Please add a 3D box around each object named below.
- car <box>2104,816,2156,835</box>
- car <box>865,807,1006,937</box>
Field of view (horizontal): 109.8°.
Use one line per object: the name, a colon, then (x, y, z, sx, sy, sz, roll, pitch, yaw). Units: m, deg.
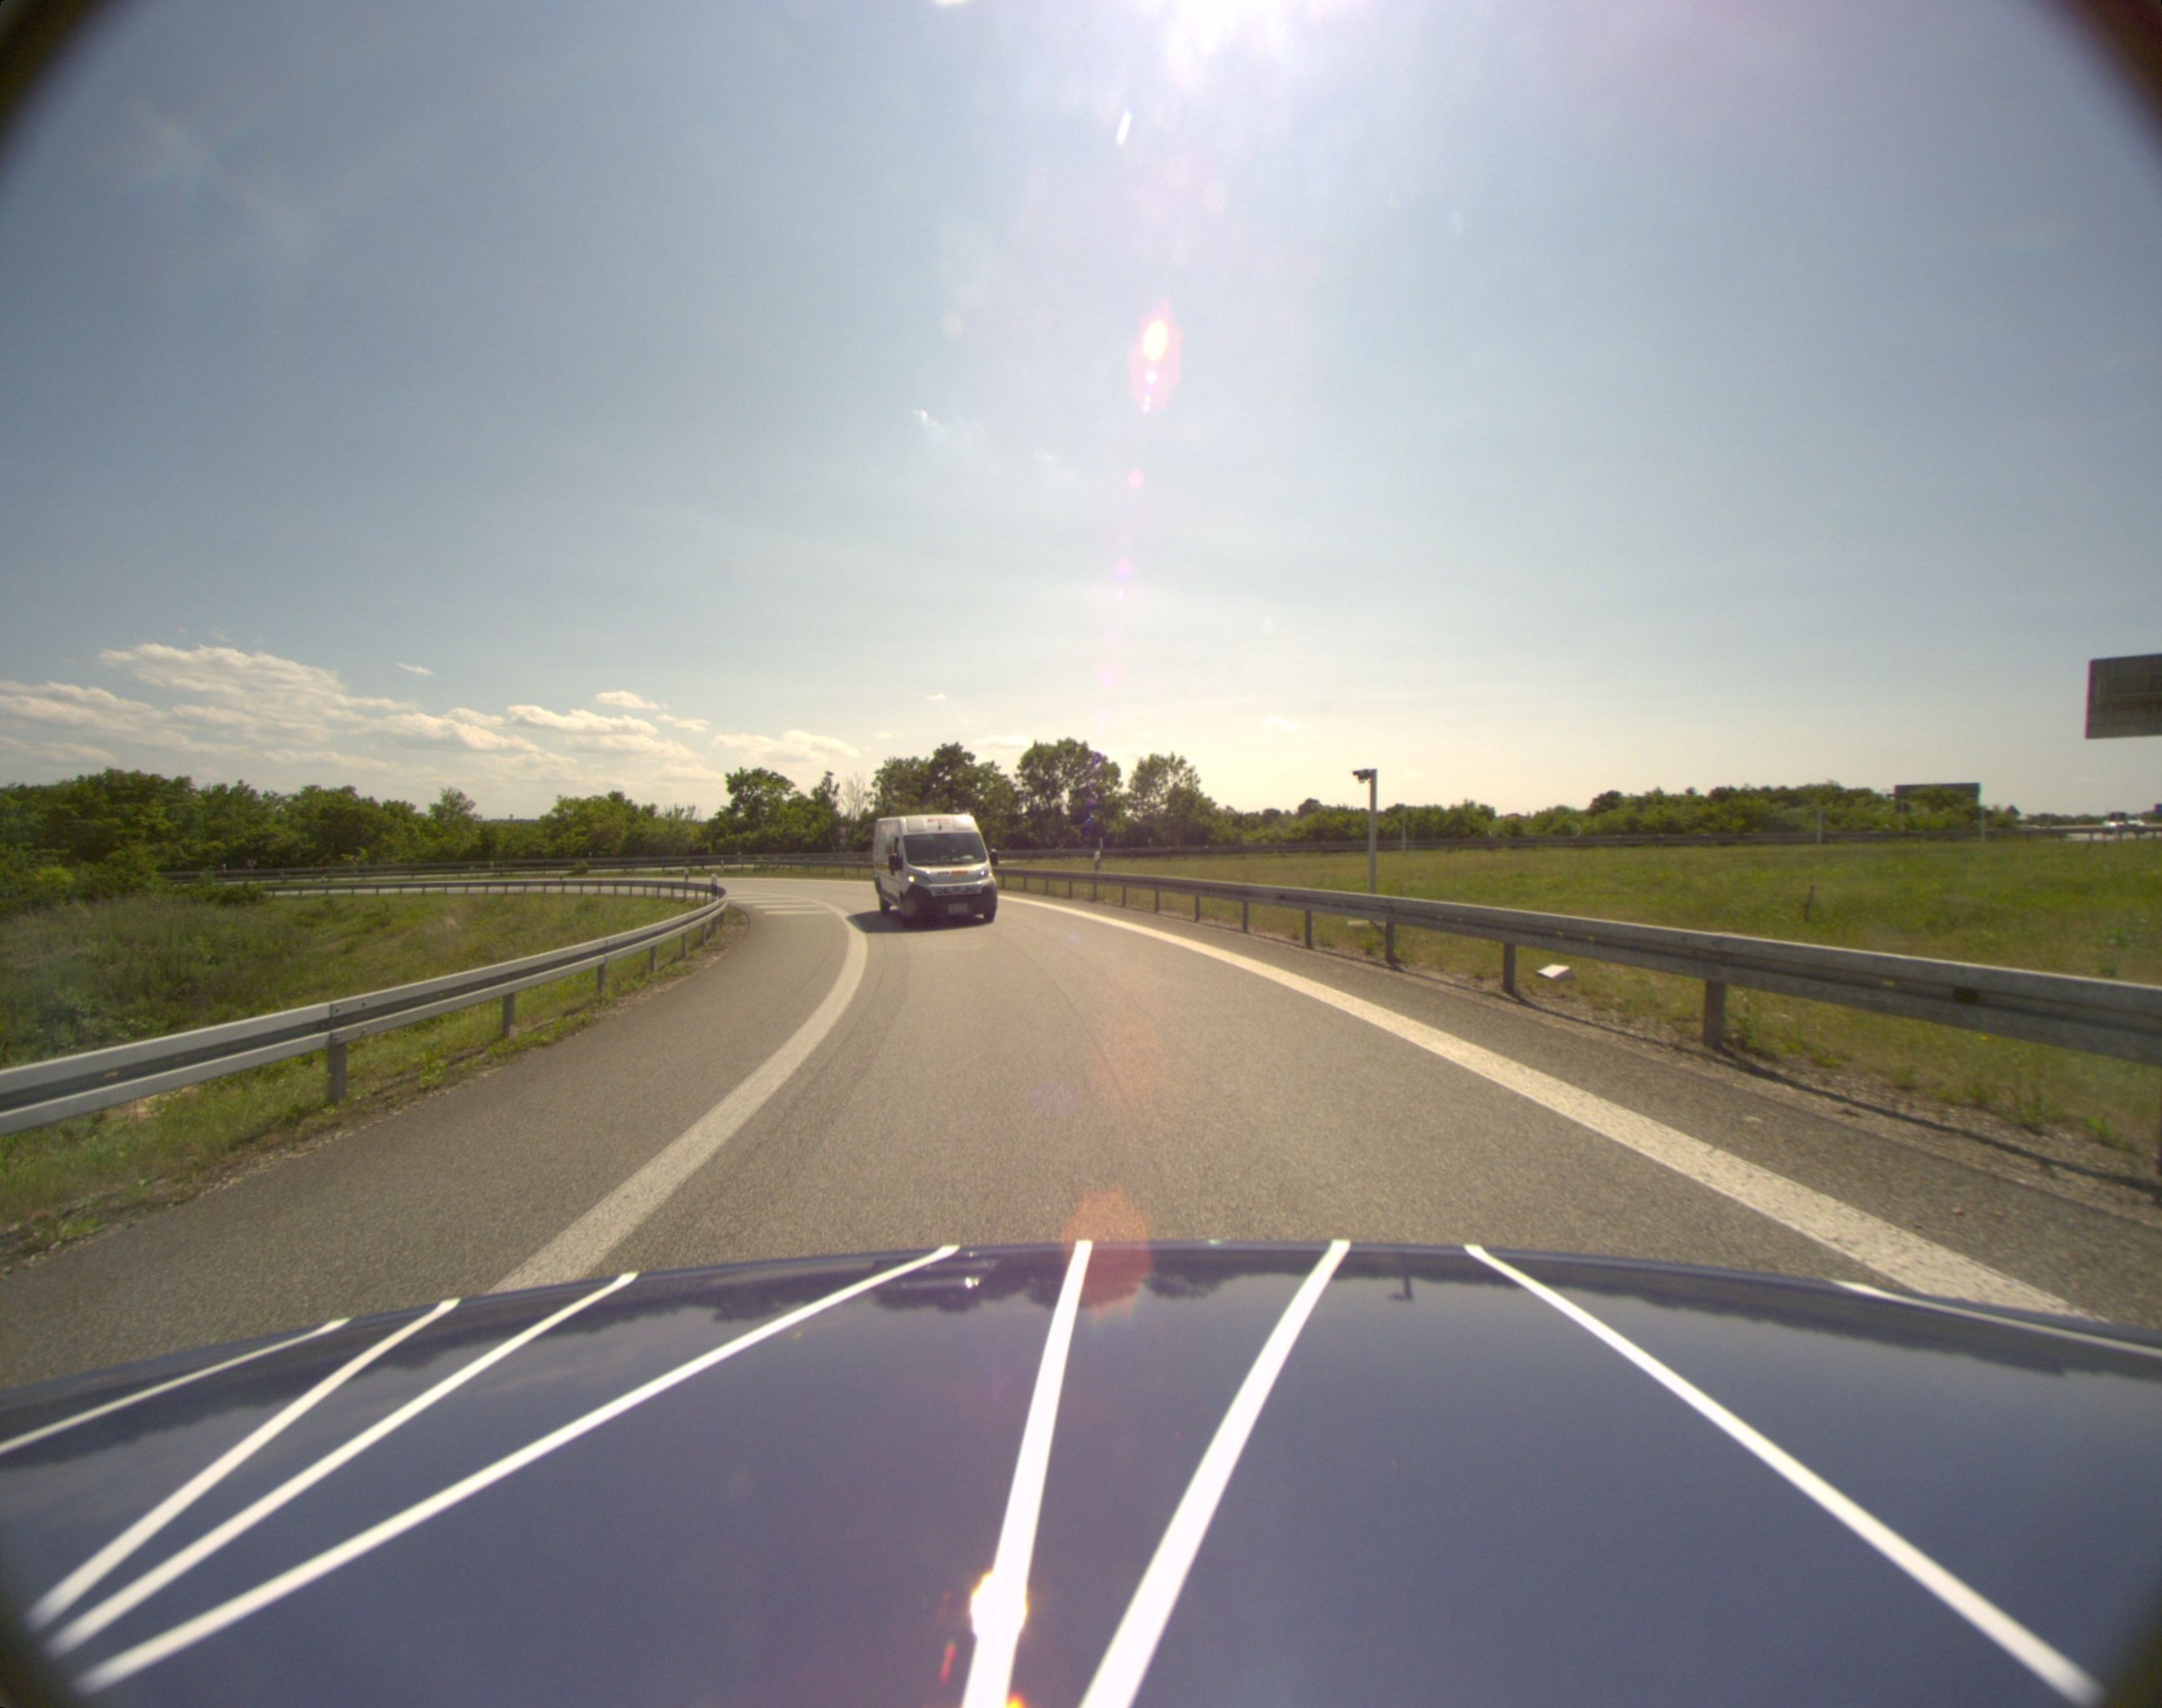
car: (92.313, -2.503, 66.844, 4.304, 1.499, 1.996, -3, 1, -26)
car: (-3.836, 0.300, 18.793, 2.090, 2.510, 6.224, -6, 3, -21)
